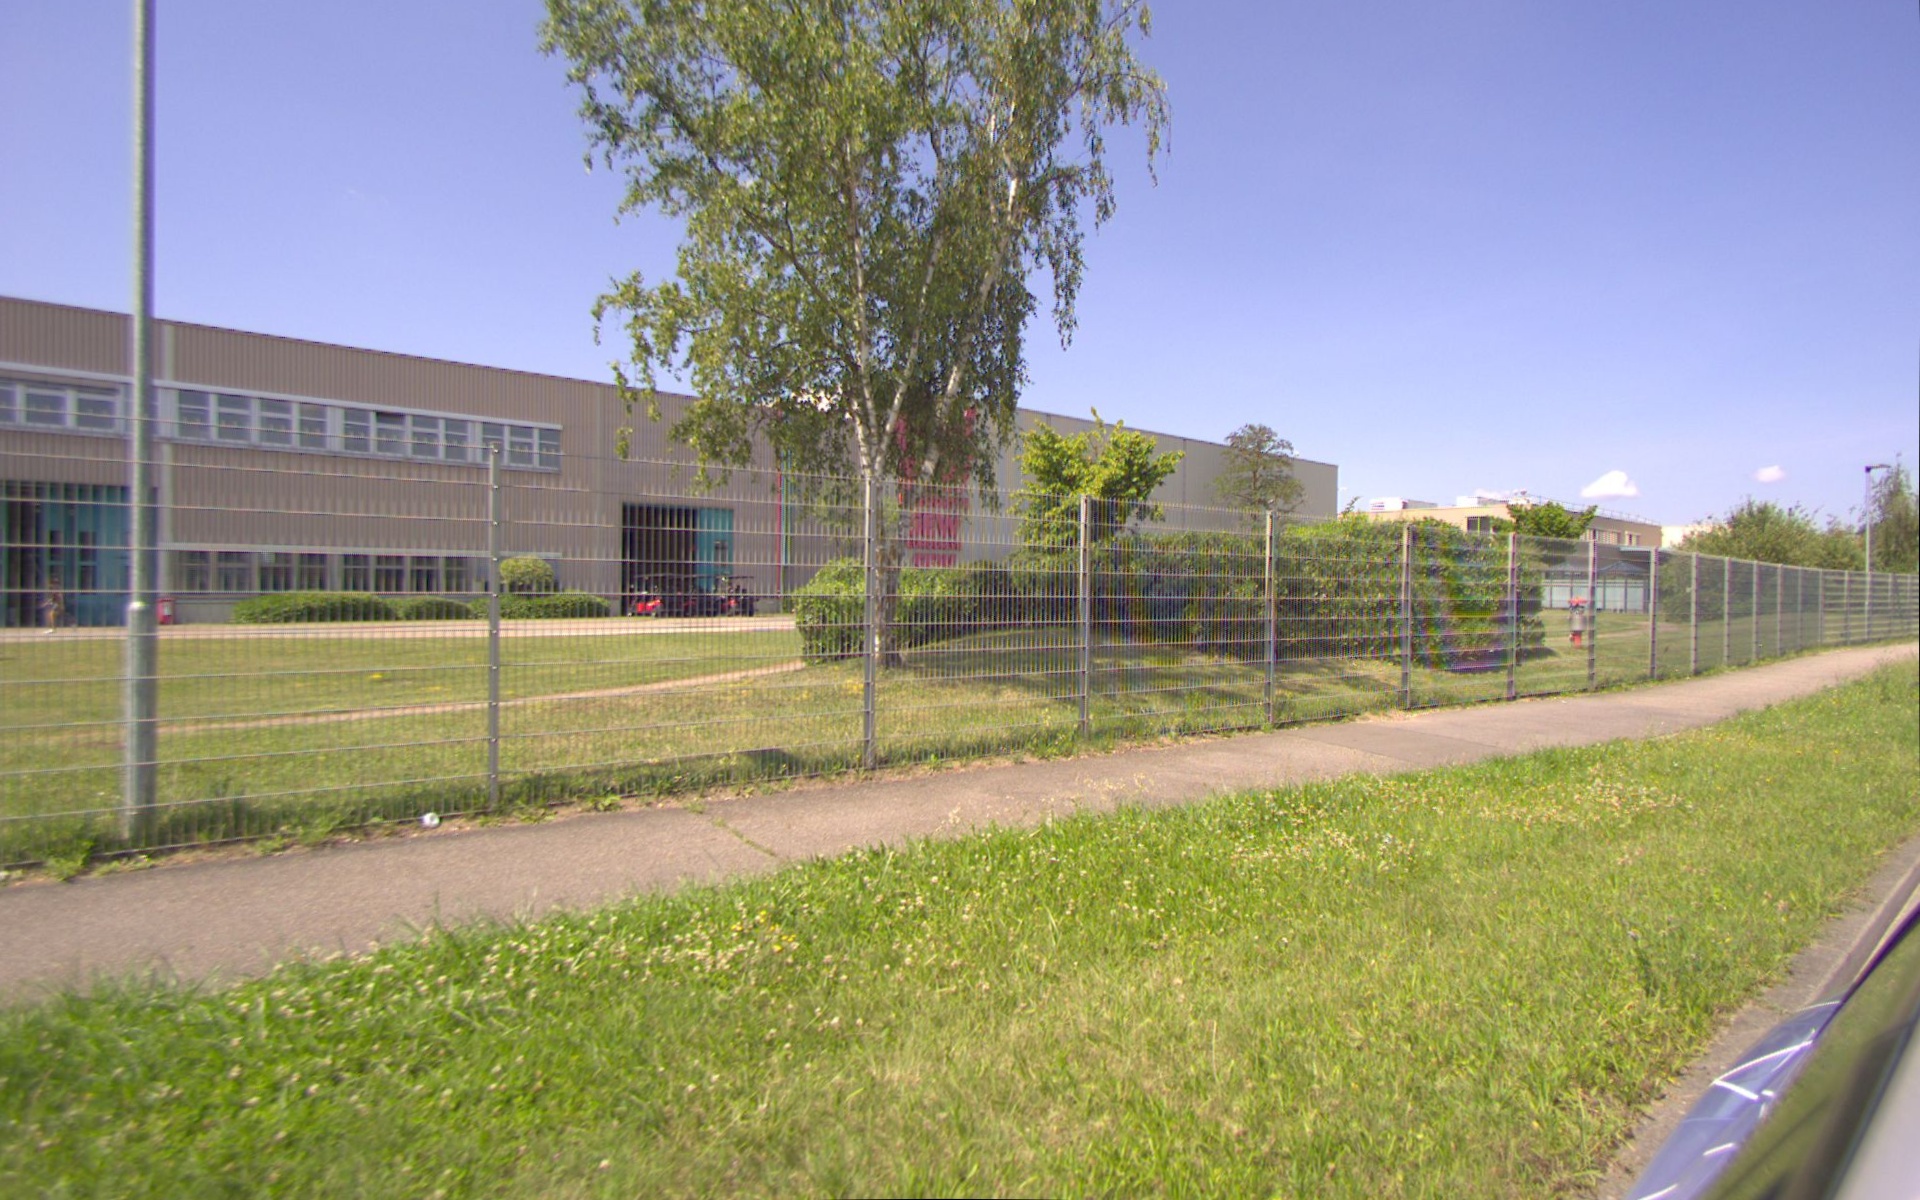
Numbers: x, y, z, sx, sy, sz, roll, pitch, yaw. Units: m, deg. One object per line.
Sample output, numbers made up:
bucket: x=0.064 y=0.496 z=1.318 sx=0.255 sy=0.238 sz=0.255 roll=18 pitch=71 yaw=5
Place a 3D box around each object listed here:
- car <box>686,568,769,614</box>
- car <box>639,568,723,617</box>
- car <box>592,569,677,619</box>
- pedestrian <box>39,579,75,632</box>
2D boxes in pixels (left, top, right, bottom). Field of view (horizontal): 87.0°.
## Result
car: x=-10.753 y=-0.447 z=46.655 sx=1.938 sy=2.039 sz=4.164 roll=-1 pitch=1 yaw=-42
car: x=-12.422 y=-0.366 z=44.973 sx=1.938 sy=2.039 sz=4.164 roll=-1 pitch=1 yaw=-42
car: x=-14.027 y=-0.289 z=43.461 sx=1.938 sy=2.039 sz=4.164 roll=-1 pitch=1 yaw=-42
pedestrian: x=-24.707 y=0.144 z=27.707 sx=0.717 sy=1.408 sz=0.515 roll=0 pitch=0 yaw=-41
